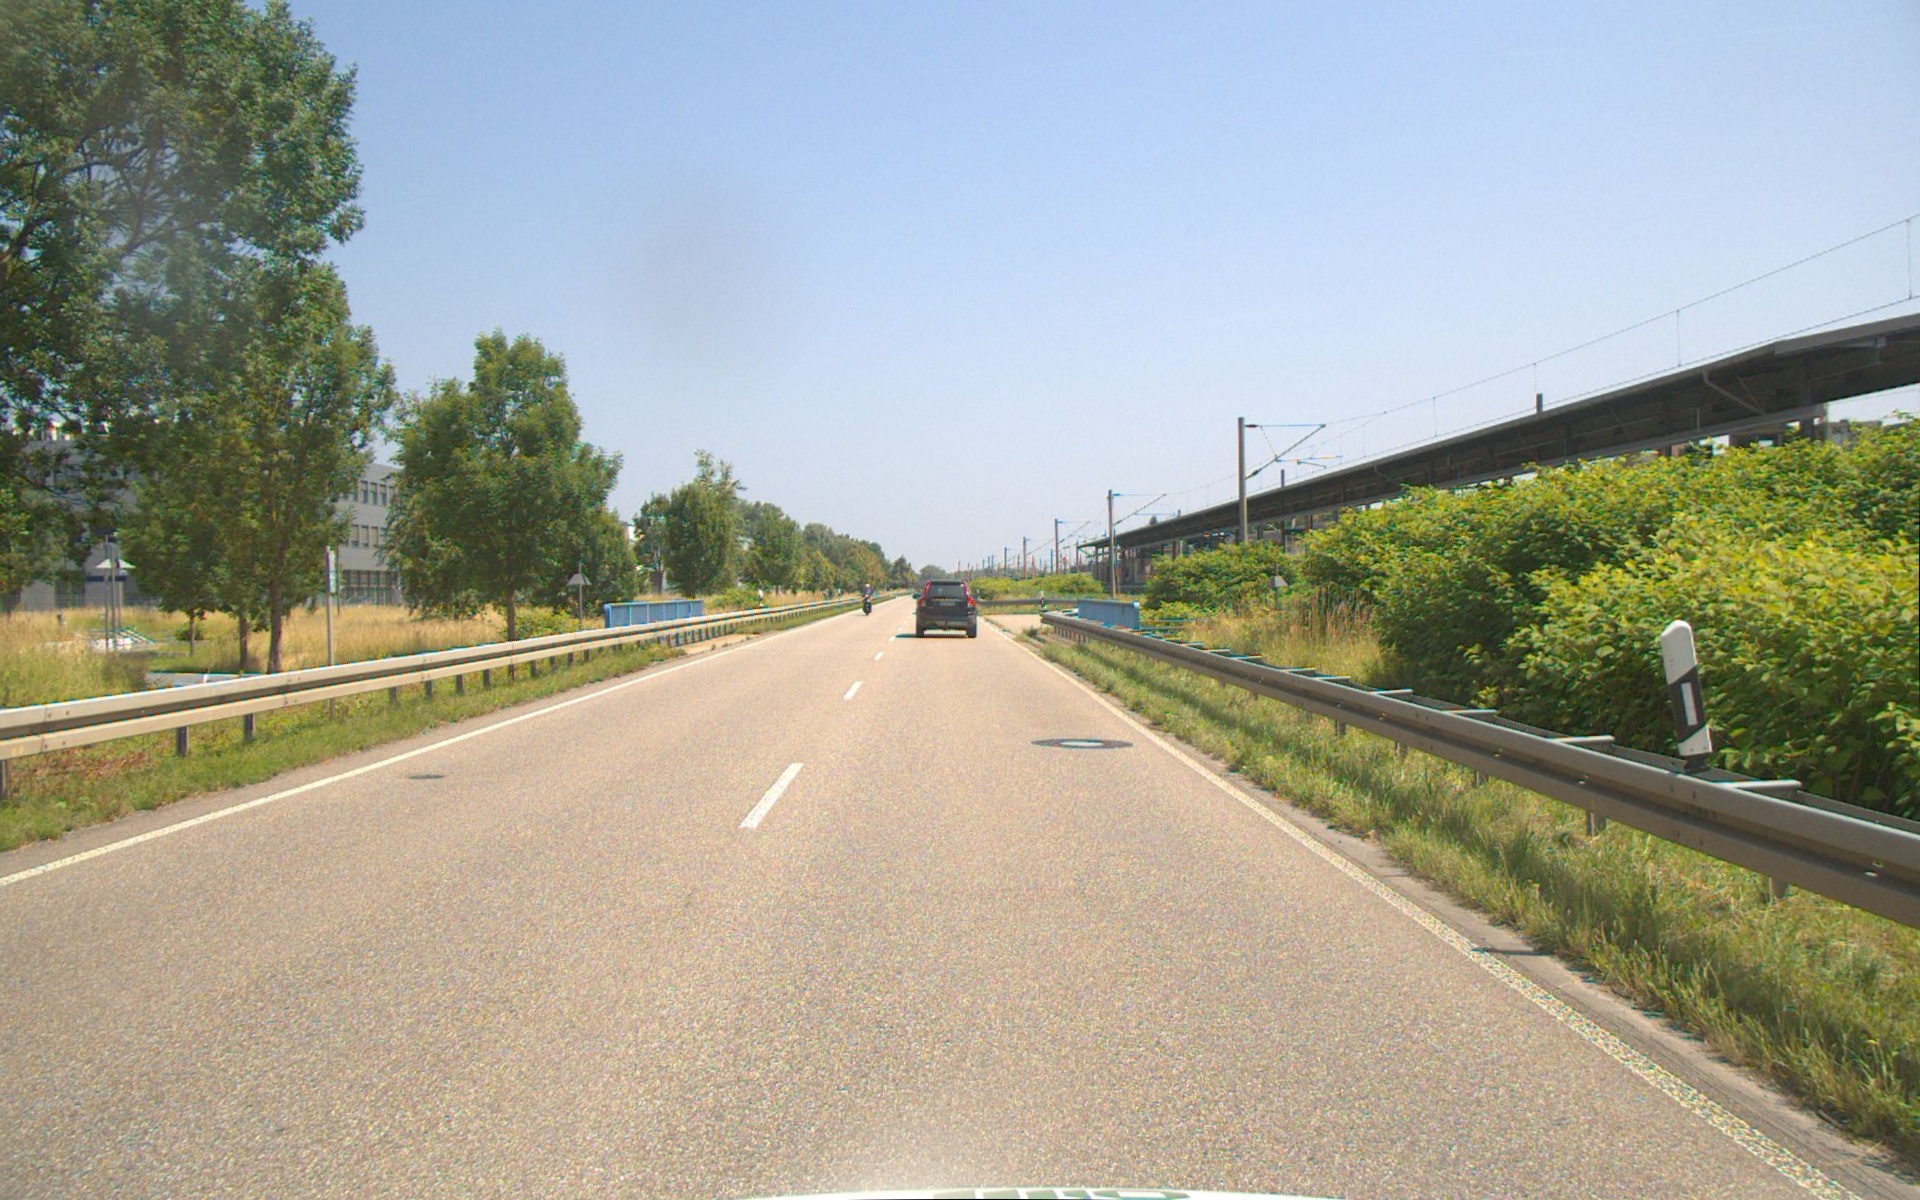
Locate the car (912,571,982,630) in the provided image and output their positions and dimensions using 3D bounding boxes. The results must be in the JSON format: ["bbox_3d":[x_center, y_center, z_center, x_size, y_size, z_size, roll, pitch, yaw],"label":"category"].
[{"bbox_3d":[-0.437,0.002,50.845,1.954,1.730,3.997,-1,1,-3],"label":"car"}]

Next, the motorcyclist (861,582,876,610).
[{"bbox_3d":[-4.982,-0.212,89.950,0.711,1.490,0.987,0,0,1],"label":"motorcyclist"}]

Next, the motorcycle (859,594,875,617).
[{"bbox_3d":[-5.028,0.292,89.914,0.674,1.256,2.370,0,1,1],"label":"motorcycle"}]
